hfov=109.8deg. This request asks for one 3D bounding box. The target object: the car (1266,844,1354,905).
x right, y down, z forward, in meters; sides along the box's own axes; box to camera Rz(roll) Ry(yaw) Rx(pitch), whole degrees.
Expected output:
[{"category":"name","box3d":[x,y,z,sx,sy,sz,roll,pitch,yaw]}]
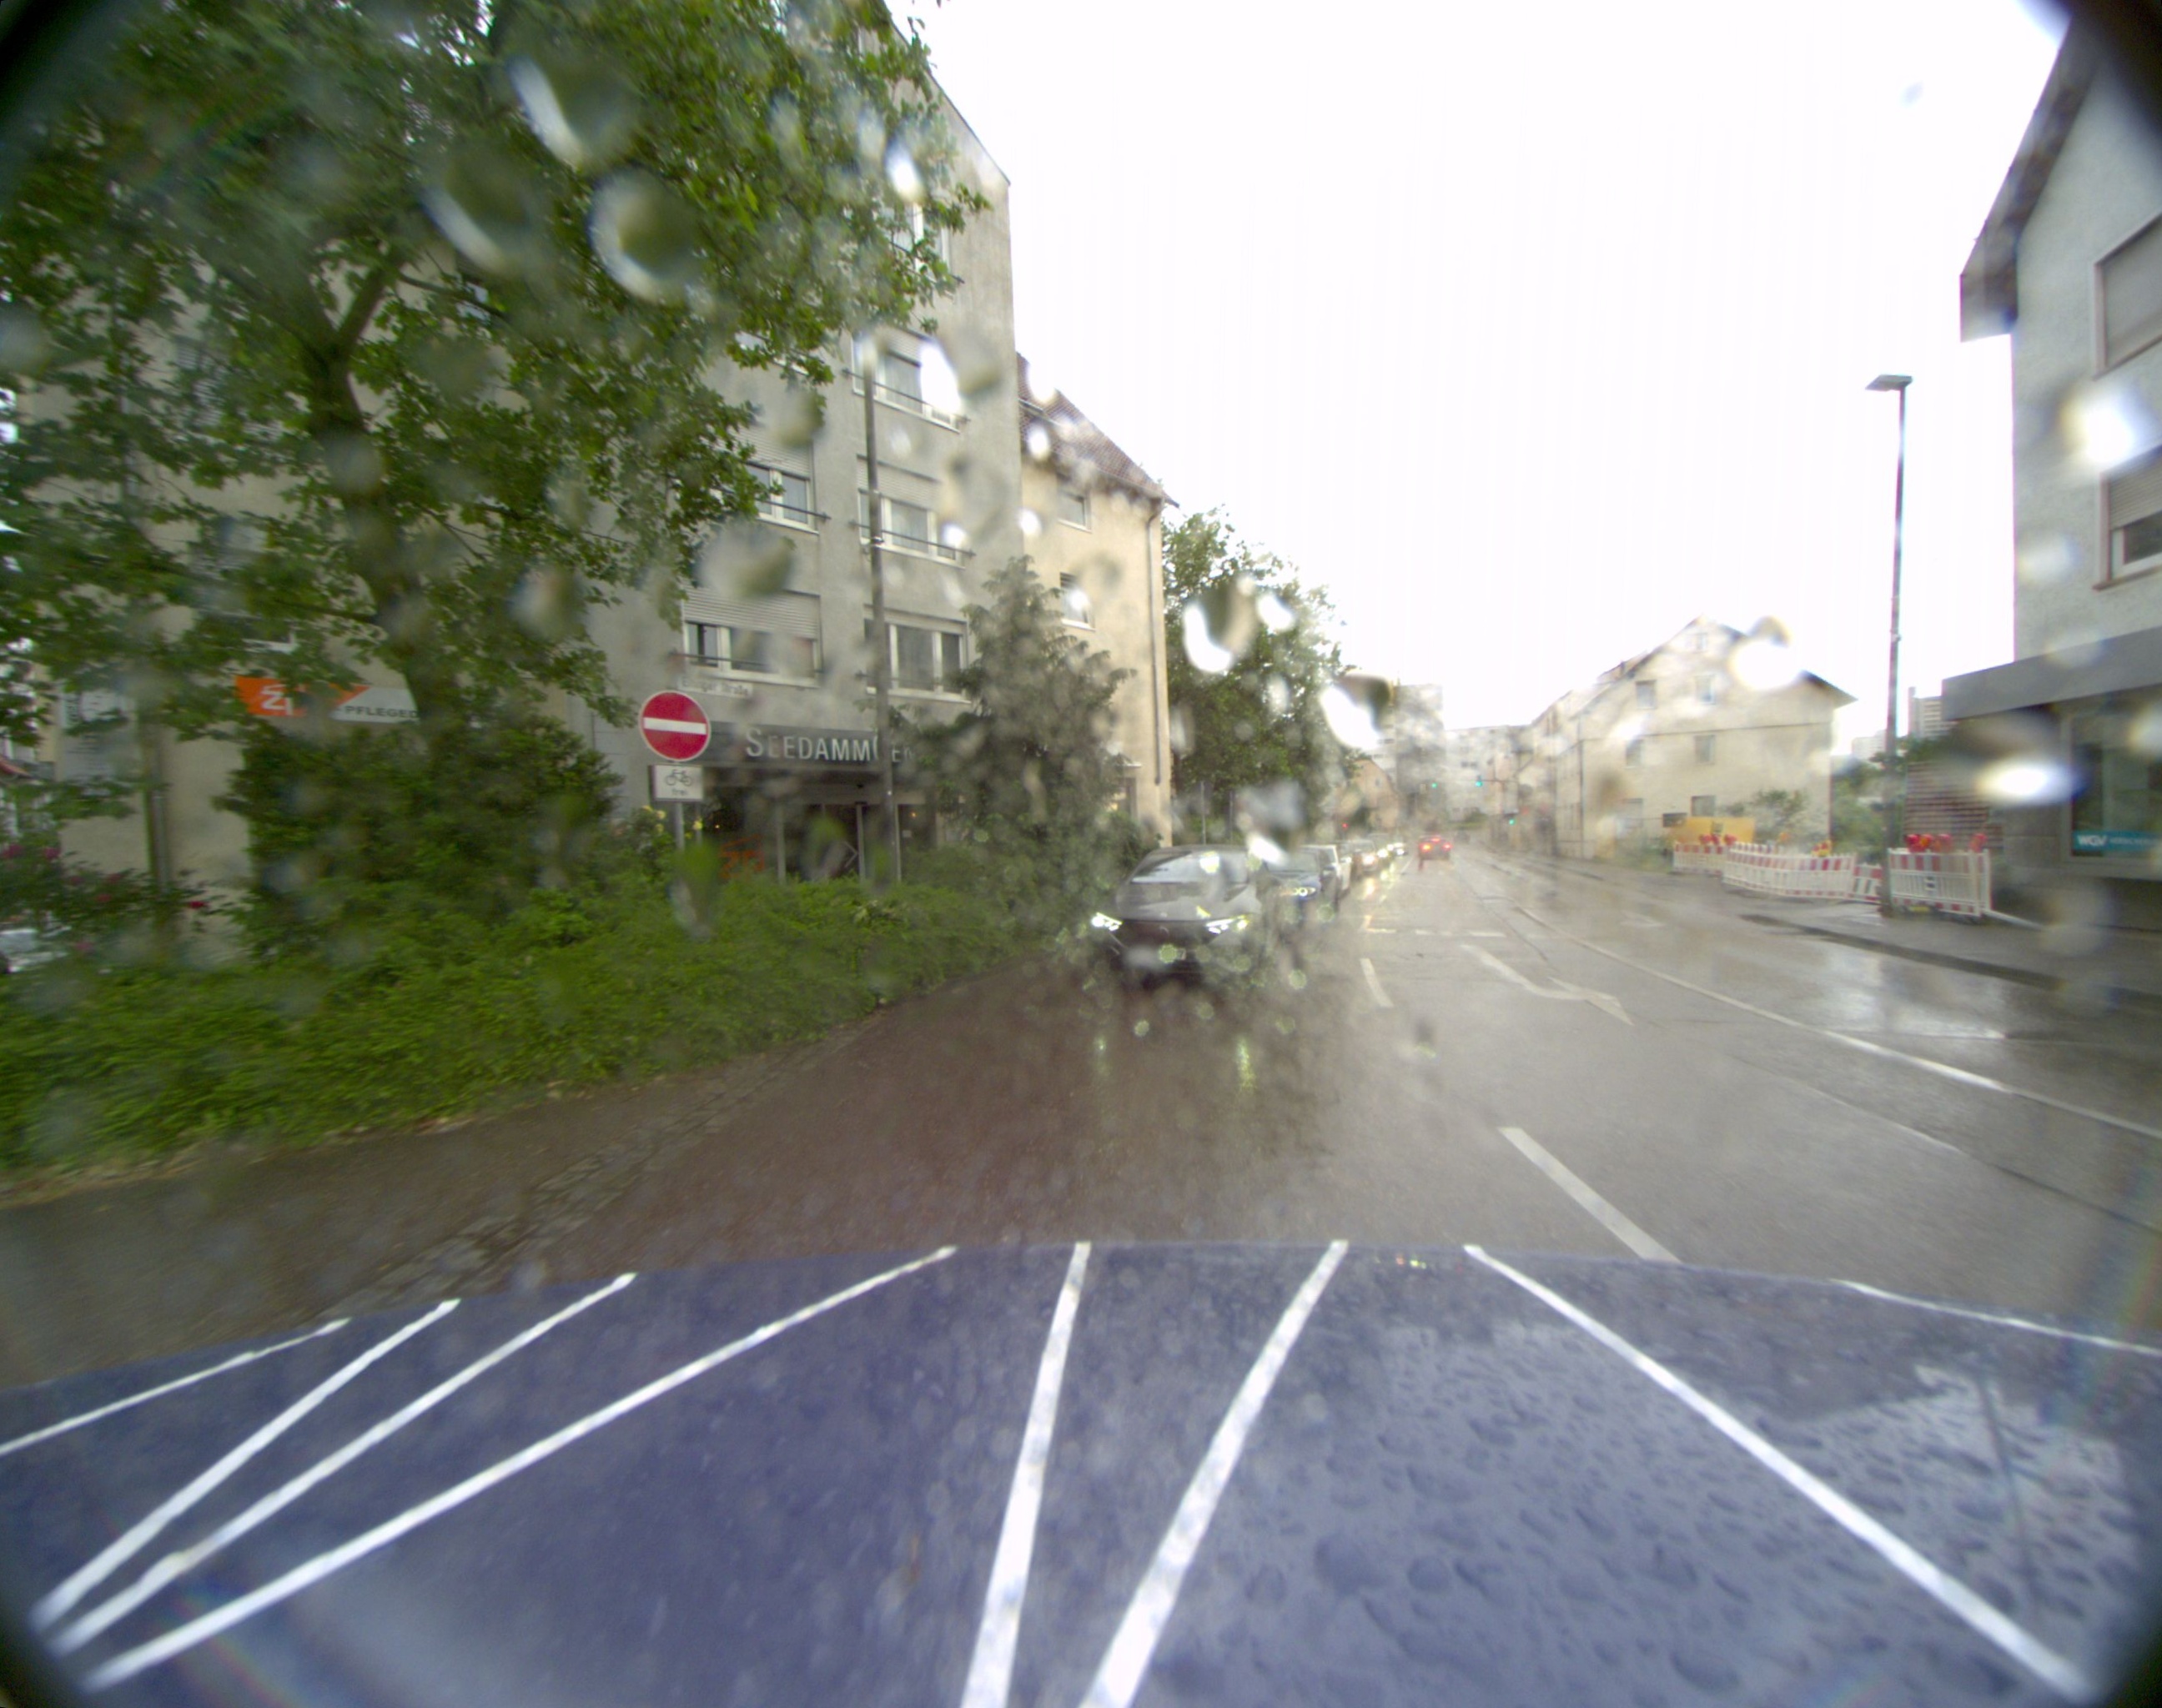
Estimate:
[{"category":"car","box3d":[6.563,0.520,21.446,1.996,1.444,4.005,-3,0,21]}]

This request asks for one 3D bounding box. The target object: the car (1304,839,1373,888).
[{"category":"car","box3d":[9.440,0.314,27.673,1.810,1.556,4.006,-3,0,26]}]

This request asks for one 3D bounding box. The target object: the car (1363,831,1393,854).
[{"category":"car","box3d":[20.744,-0.819,53.086,1.850,1.469,4.005,-2,1,22]}]

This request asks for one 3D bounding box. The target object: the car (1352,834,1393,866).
[{"category":"car","box3d":[15.893,-0.246,41.338,1.829,1.543,4.006,-3,0,24]}]

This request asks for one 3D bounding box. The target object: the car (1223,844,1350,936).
[{"category":"car","box3d":[4.322,0.617,15.485,1.770,1.524,4.384,-2,1,24]}]

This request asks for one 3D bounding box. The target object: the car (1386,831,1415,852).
[{"category":"car","box3d":[26.870,-1.032,64.039,1.996,1.542,4.007,-2,-1,20]}]

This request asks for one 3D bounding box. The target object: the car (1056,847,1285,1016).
[{"category":"car","box3d":[1.361,0.721,9.268,1.996,1.484,4.318,-2,1,17]}]

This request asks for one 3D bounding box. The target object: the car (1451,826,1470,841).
[{"category":"car","box3d":[43.283,-2.372,86.695,1.810,1.556,4.006,-3,0,25]}]

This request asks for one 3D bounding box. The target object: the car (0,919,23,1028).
[{"category":"car","box3d":[-16.529,1.858,10.191,3.990,1.642,2.003,-5,3,44]}]

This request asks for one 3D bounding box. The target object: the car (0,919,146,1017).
[{"category":"car","box3d":[-20.318,2.166,14.737,2.004,1.564,3.990,-2,-1,-40]}]

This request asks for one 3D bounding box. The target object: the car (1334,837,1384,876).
[{"category":"car","box3d":[12.624,0.073,34.349,1.841,1.612,4.006,-2,1,24]}]

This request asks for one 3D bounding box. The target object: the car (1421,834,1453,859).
[{"category":"car","box3d":[23.858,-0.521,51.013,1.810,1.556,4.006,-3,0,25]}]
